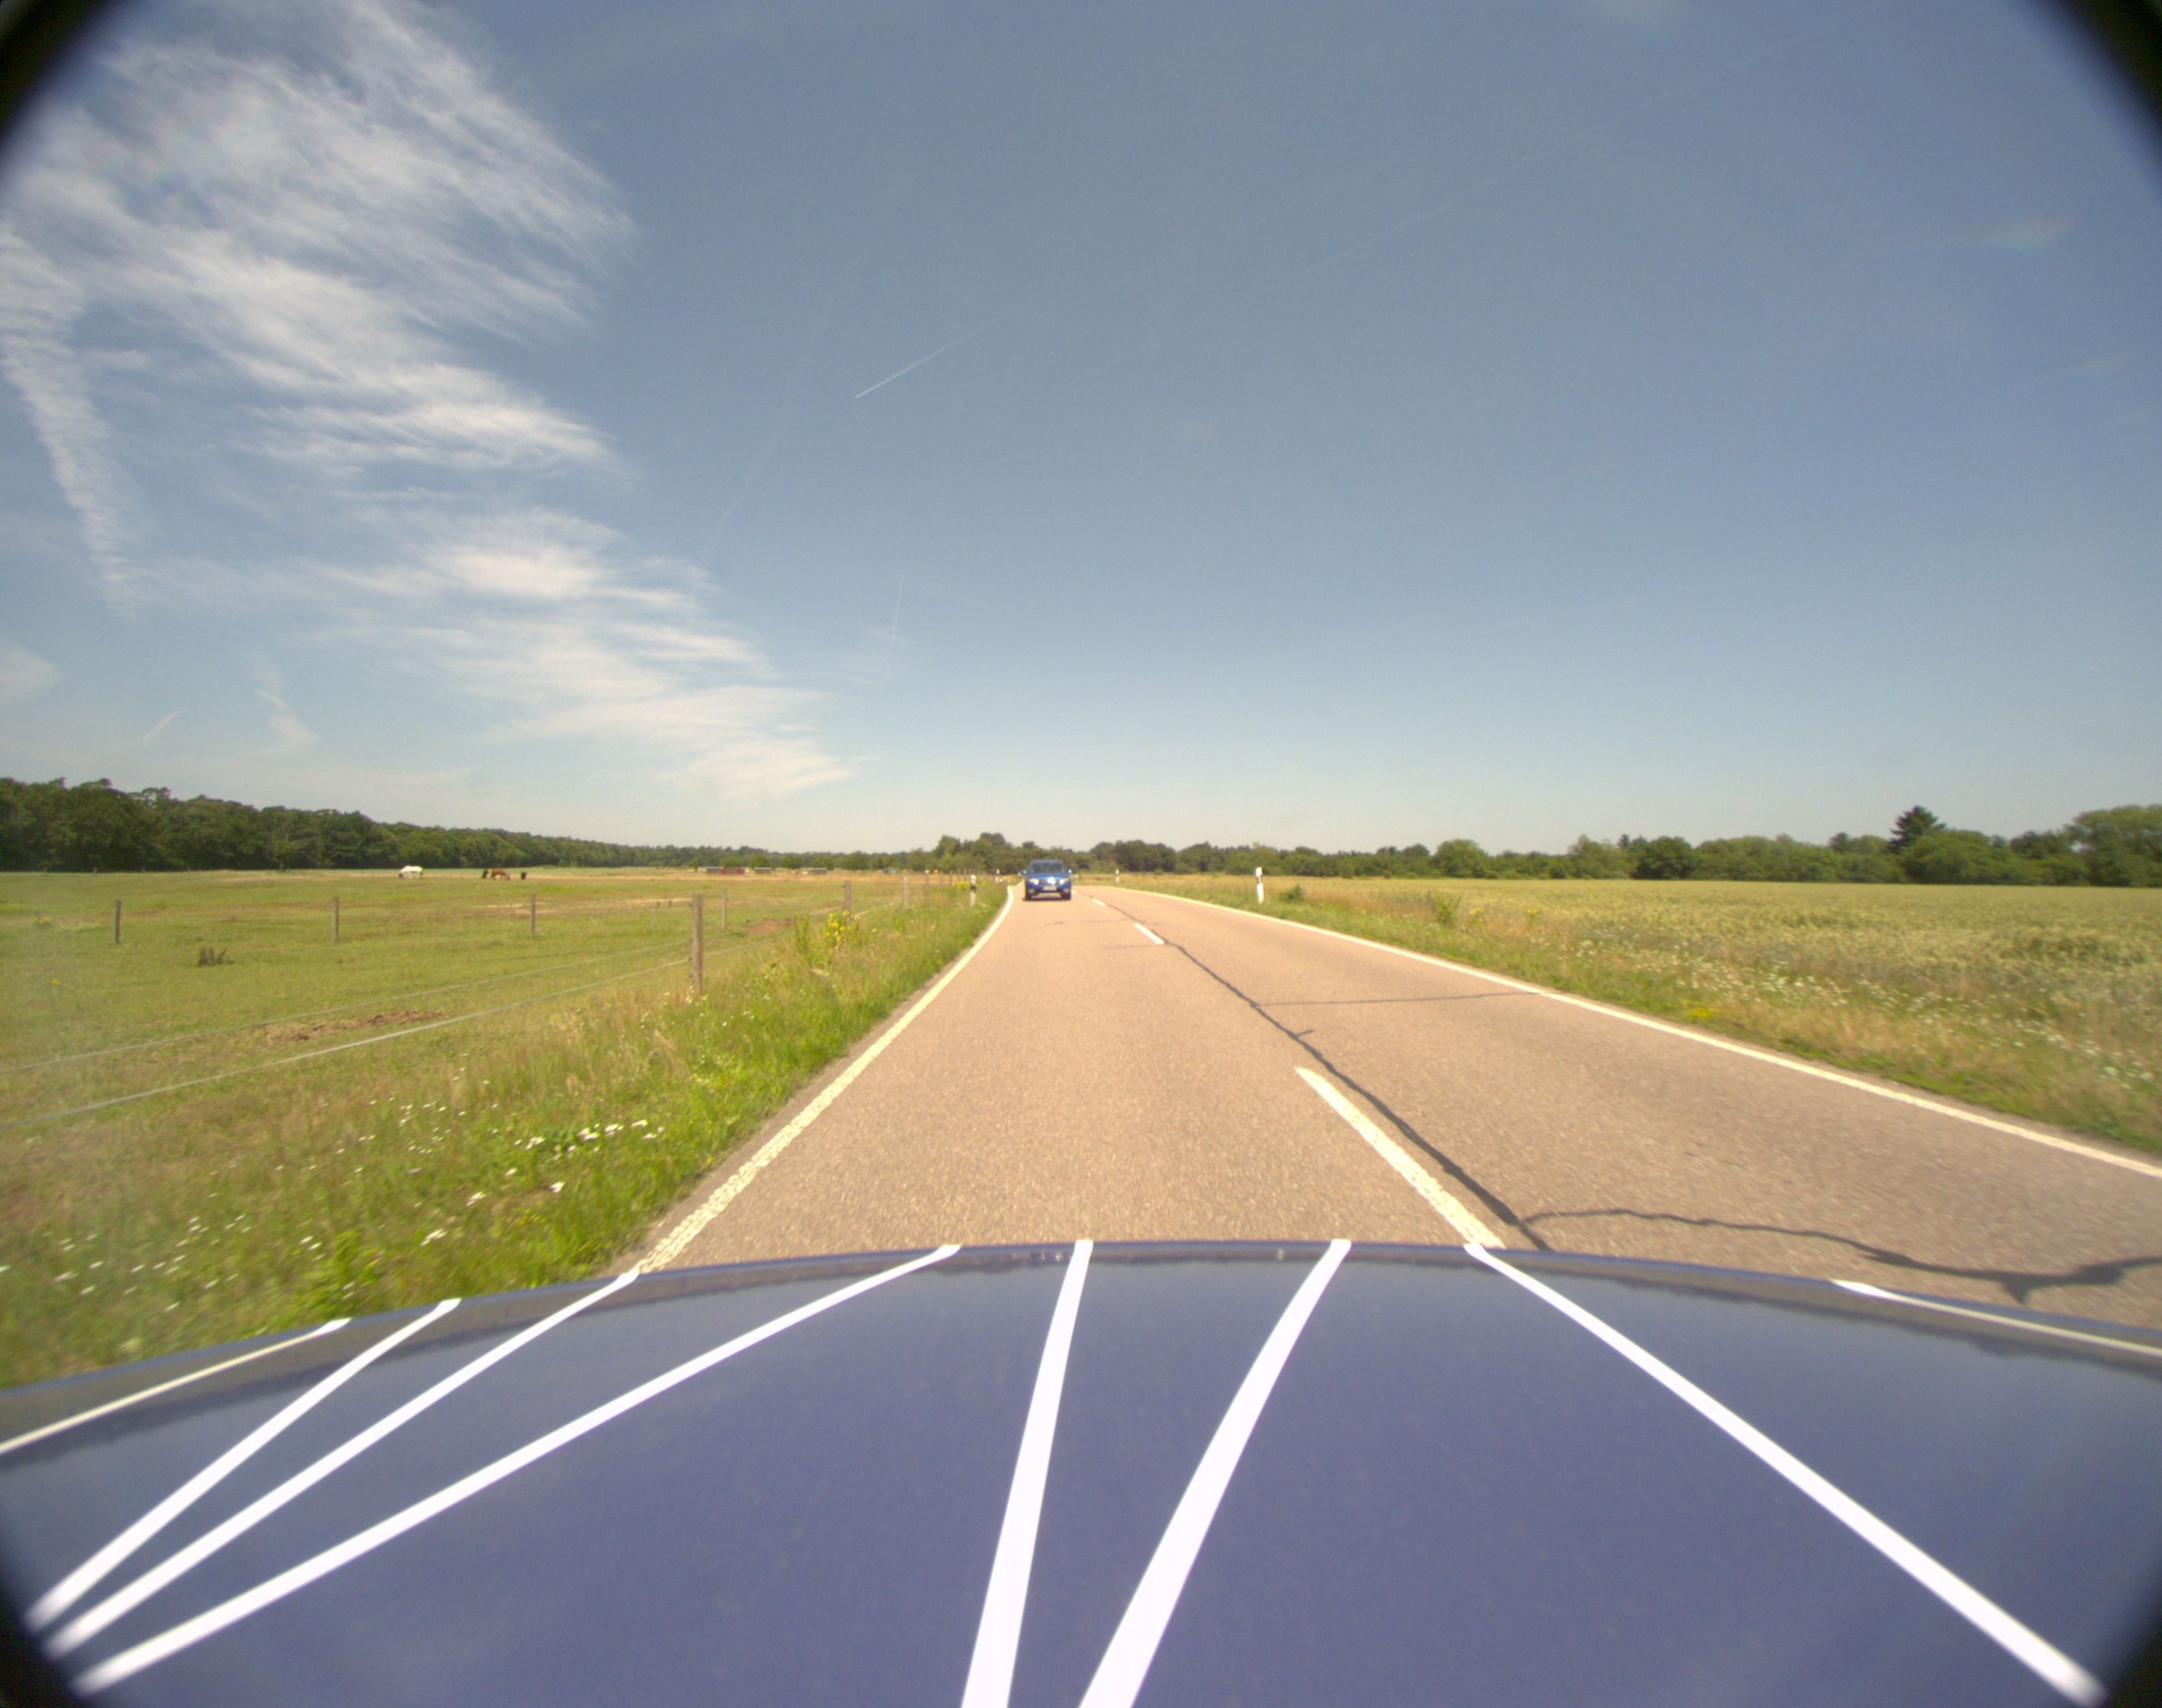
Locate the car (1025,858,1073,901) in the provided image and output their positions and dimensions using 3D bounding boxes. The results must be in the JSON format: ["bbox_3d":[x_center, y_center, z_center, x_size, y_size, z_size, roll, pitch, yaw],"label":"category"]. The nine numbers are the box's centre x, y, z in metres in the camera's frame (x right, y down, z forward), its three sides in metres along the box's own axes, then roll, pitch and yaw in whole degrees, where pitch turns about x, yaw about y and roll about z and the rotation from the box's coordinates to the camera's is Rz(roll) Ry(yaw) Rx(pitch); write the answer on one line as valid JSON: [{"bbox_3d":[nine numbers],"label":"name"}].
[{"bbox_3d":[-1.309,0.983,30.264,1.735,1.571,3.999,-1,-1,-4],"label":"car"}]
